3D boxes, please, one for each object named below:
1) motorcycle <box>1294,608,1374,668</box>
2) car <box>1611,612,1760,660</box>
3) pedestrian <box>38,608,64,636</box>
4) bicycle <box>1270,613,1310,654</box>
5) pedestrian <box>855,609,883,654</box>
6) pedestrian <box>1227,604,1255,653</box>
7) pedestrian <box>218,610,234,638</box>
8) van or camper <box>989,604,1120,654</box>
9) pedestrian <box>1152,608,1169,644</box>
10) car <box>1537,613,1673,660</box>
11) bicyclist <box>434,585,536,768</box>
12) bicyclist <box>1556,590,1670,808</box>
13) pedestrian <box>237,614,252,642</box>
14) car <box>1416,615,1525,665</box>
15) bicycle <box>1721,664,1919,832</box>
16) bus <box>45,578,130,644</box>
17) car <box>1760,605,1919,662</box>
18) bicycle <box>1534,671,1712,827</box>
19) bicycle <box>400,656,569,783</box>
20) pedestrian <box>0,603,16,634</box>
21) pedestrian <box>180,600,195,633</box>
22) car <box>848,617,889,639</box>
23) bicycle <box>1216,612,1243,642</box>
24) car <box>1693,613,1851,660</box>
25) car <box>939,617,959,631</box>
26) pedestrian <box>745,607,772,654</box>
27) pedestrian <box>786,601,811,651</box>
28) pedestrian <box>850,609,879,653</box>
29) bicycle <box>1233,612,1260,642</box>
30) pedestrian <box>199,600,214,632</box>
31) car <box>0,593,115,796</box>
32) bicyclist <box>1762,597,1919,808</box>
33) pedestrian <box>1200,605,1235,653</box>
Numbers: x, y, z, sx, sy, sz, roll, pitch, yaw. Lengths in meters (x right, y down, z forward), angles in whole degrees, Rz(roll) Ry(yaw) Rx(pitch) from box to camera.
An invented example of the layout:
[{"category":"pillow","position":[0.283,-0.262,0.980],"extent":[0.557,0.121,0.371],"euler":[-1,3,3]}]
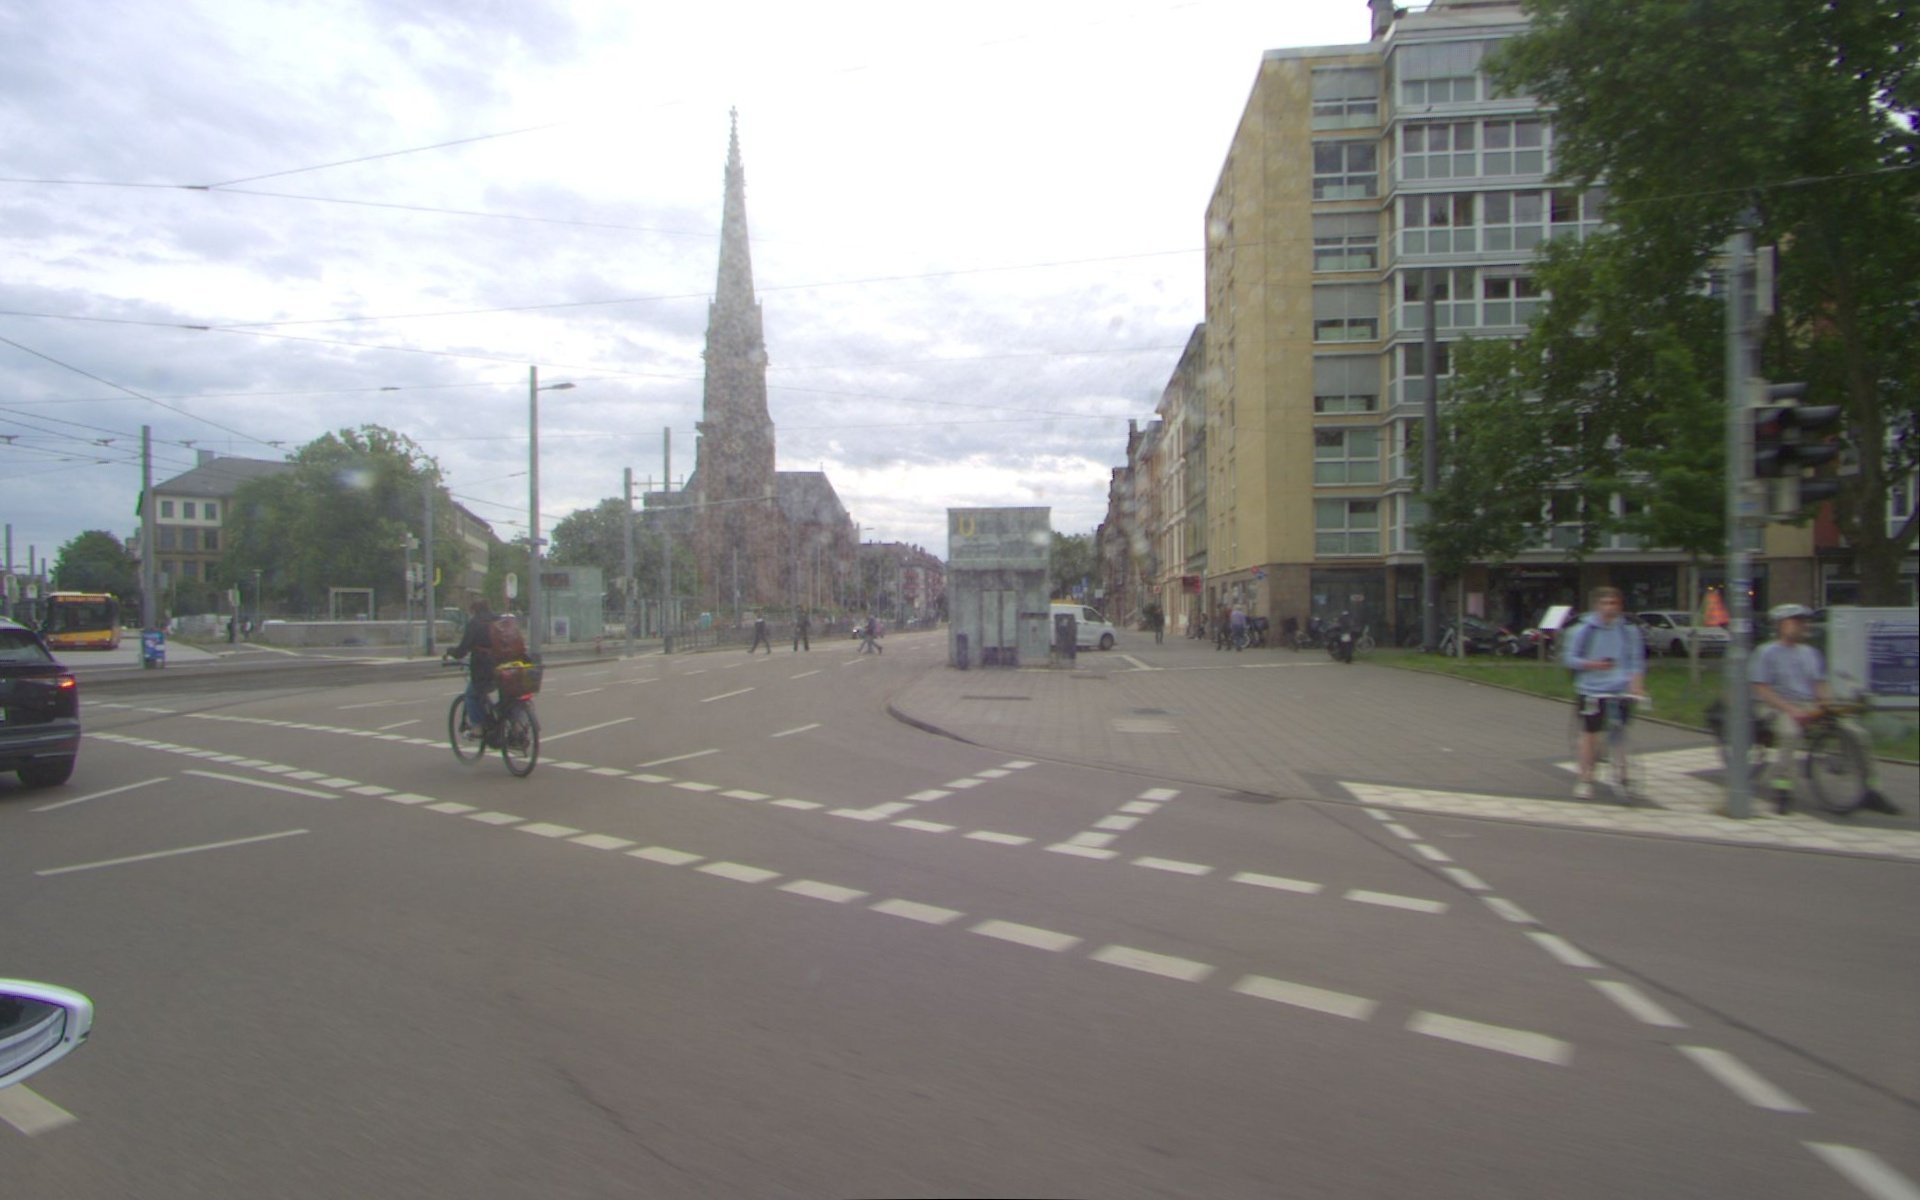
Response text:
[{"category":"motorcycle","position":[9.552,0.941,25.667],"extent":[1.027,1.384,2.292],"euler":[-5,0,-2]},{"category":"car","position":[24.207,1.149,33.608],"extent":[1.961,1.461,3.999],"euler":[0,0,-3]},{"category":"pedestrian","position":[-54.860,1.319,60.449],"extent":[0.995,1.666,1.014],"euler":[0,0,-36]},{"category":"bicycle","position":[11.669,1.150,35.488],"extent":[0.886,1.395,2.783],"euler":[0,0,8]},{"category":"pedestrian","position":[-3.319,1.139,36.615],"extent":[0.881,1.623,0.783],"euler":[0,0,-17]},{"category":"pedestrian","position":[10.232,1.020,36.510],"extent":[0.797,1.760,0.906],"euler":[0,1,4]},{"category":"pedestrian","position":[-49.412,1.605,67.392],"extent":[0.816,1.832,1.014],"euler":[-2,0,-35]},{"category":"van or camper","position":[4.031,1.190,42.473],"extent":[5.393,2.004,2.159],"euler":[0,-1,-33]},{"category":"pedestrian","position":[9.872,1.271,49.405],"extent":[0.605,1.738,0.824],"euler":[-1,1,-5]},{"category":"car","position":[21.553,1.180,33.687],"extent":[1.961,1.483,4.000],"euler":[0,-1,-1]},{"category":"bicyclist","position":[-4.674,0.719,9.862],"extent":[0.795,1.713,0.613],"euler":[0,0,36]},{"category":"bicyclist","position":[5.583,0.815,8.600],"extent":[0.575,1.775,0.734],"euler":[-1,1,12]},{"category":"pedestrian","position":[-48.439,1.903,67.817],"extent":[0.816,1.878,1.014],"euler":[0,0,-35]},{"category":"car","position":[16.792,1.271,33.157],"extent":[1.806,1.462,4.165],"euler":[0,0,5]},{"category":"bicycle","position":[7.087,1.146,8.315],"extent":[0.591,1.012,1.941],"euler":[0,3,18]},{"category":"bus","position":[-48.829,0.660,56.321],"extent":[2.991,3.310,12.939],"euler":[0,-1,-38]},{"category":"car","position":[28.873,1.049,32.839],"extent":[1.961,1.746,4.000],"euler":[0,-1,-2]},{"category":"bicycle","position":[5.599,1.198,8.593],"extent":[0.569,1.012,1.990],"euler":[-1,1,12]},{"category":"bicycle","position":[-4.753,1.129,9.939],"extent":[2.098,1.069,0.623],"euler":[0,0,37]},{"category":"pedestrian","position":[-57.968,1.116,60.779],"extent":[0.816,1.832,1.014],"euler":[0,0,-35]},{"category":"pedestrian","position":[-101.035,2.135,130.936],"extent":[1.331,4.309,1.380],"euler":[0,0,42]},{"category":"car","position":[-6.581,1.999,72.476],"extent":[1.962,1.505,4.444],"euler":[-1,-1,9]},{"category":"bicycle","position":[11.117,1.084,41.376],"extent":[0.657,1.184,2.040],"euler":[0,0,3]},{"category":"car","position":[26.439,1.154,32.803],"extent":[1.801,1.353,3.999],"euler":[0,0,-3]},{"category":"car","position":[-1.372,3.091,127.847],"extent":[1.962,1.773,3.999],"euler":[-1,-1,9]},{"category":"pedestrian","position":[-7.294,1.083,36.208],"extent":[0.888,1.665,0.783],"euler":[0,0,-17]},{"category":"pedestrian","position":[-6.335,1.025,39.219],"extent":[0.888,1.937,0.783],"euler":[0,0,-17]},{"category":"pedestrian","position":[-3.548,1.151,37.326],"extent":[0.934,1.633,0.767],"euler":[0,0,-17]},{"category":"bicycle","position":[11.795,1.084,41.298],"extent":[0.657,1.184,2.040],"euler":[0,0,3]},{"category":"pedestrian","position":[-99.696,2.125,132.449],"extent":[1.330,4.309,1.301],"euler":[0,0,39]},{"category":"car","position":[-9.958,0.805,9.296],"extent":[4.448,1.680,1.900],"euler":[-1,0,31]},{"category":"bicyclist","position":[7.008,0.771,7.980],"extent":[0.660,1.543,0.884],"euler":[0,3,18]},{"category":"pedestrian","position":[9.688,1.079,37.696],"extent":[1.030,1.780,0.787],"euler":[-1,1,-15]}]
